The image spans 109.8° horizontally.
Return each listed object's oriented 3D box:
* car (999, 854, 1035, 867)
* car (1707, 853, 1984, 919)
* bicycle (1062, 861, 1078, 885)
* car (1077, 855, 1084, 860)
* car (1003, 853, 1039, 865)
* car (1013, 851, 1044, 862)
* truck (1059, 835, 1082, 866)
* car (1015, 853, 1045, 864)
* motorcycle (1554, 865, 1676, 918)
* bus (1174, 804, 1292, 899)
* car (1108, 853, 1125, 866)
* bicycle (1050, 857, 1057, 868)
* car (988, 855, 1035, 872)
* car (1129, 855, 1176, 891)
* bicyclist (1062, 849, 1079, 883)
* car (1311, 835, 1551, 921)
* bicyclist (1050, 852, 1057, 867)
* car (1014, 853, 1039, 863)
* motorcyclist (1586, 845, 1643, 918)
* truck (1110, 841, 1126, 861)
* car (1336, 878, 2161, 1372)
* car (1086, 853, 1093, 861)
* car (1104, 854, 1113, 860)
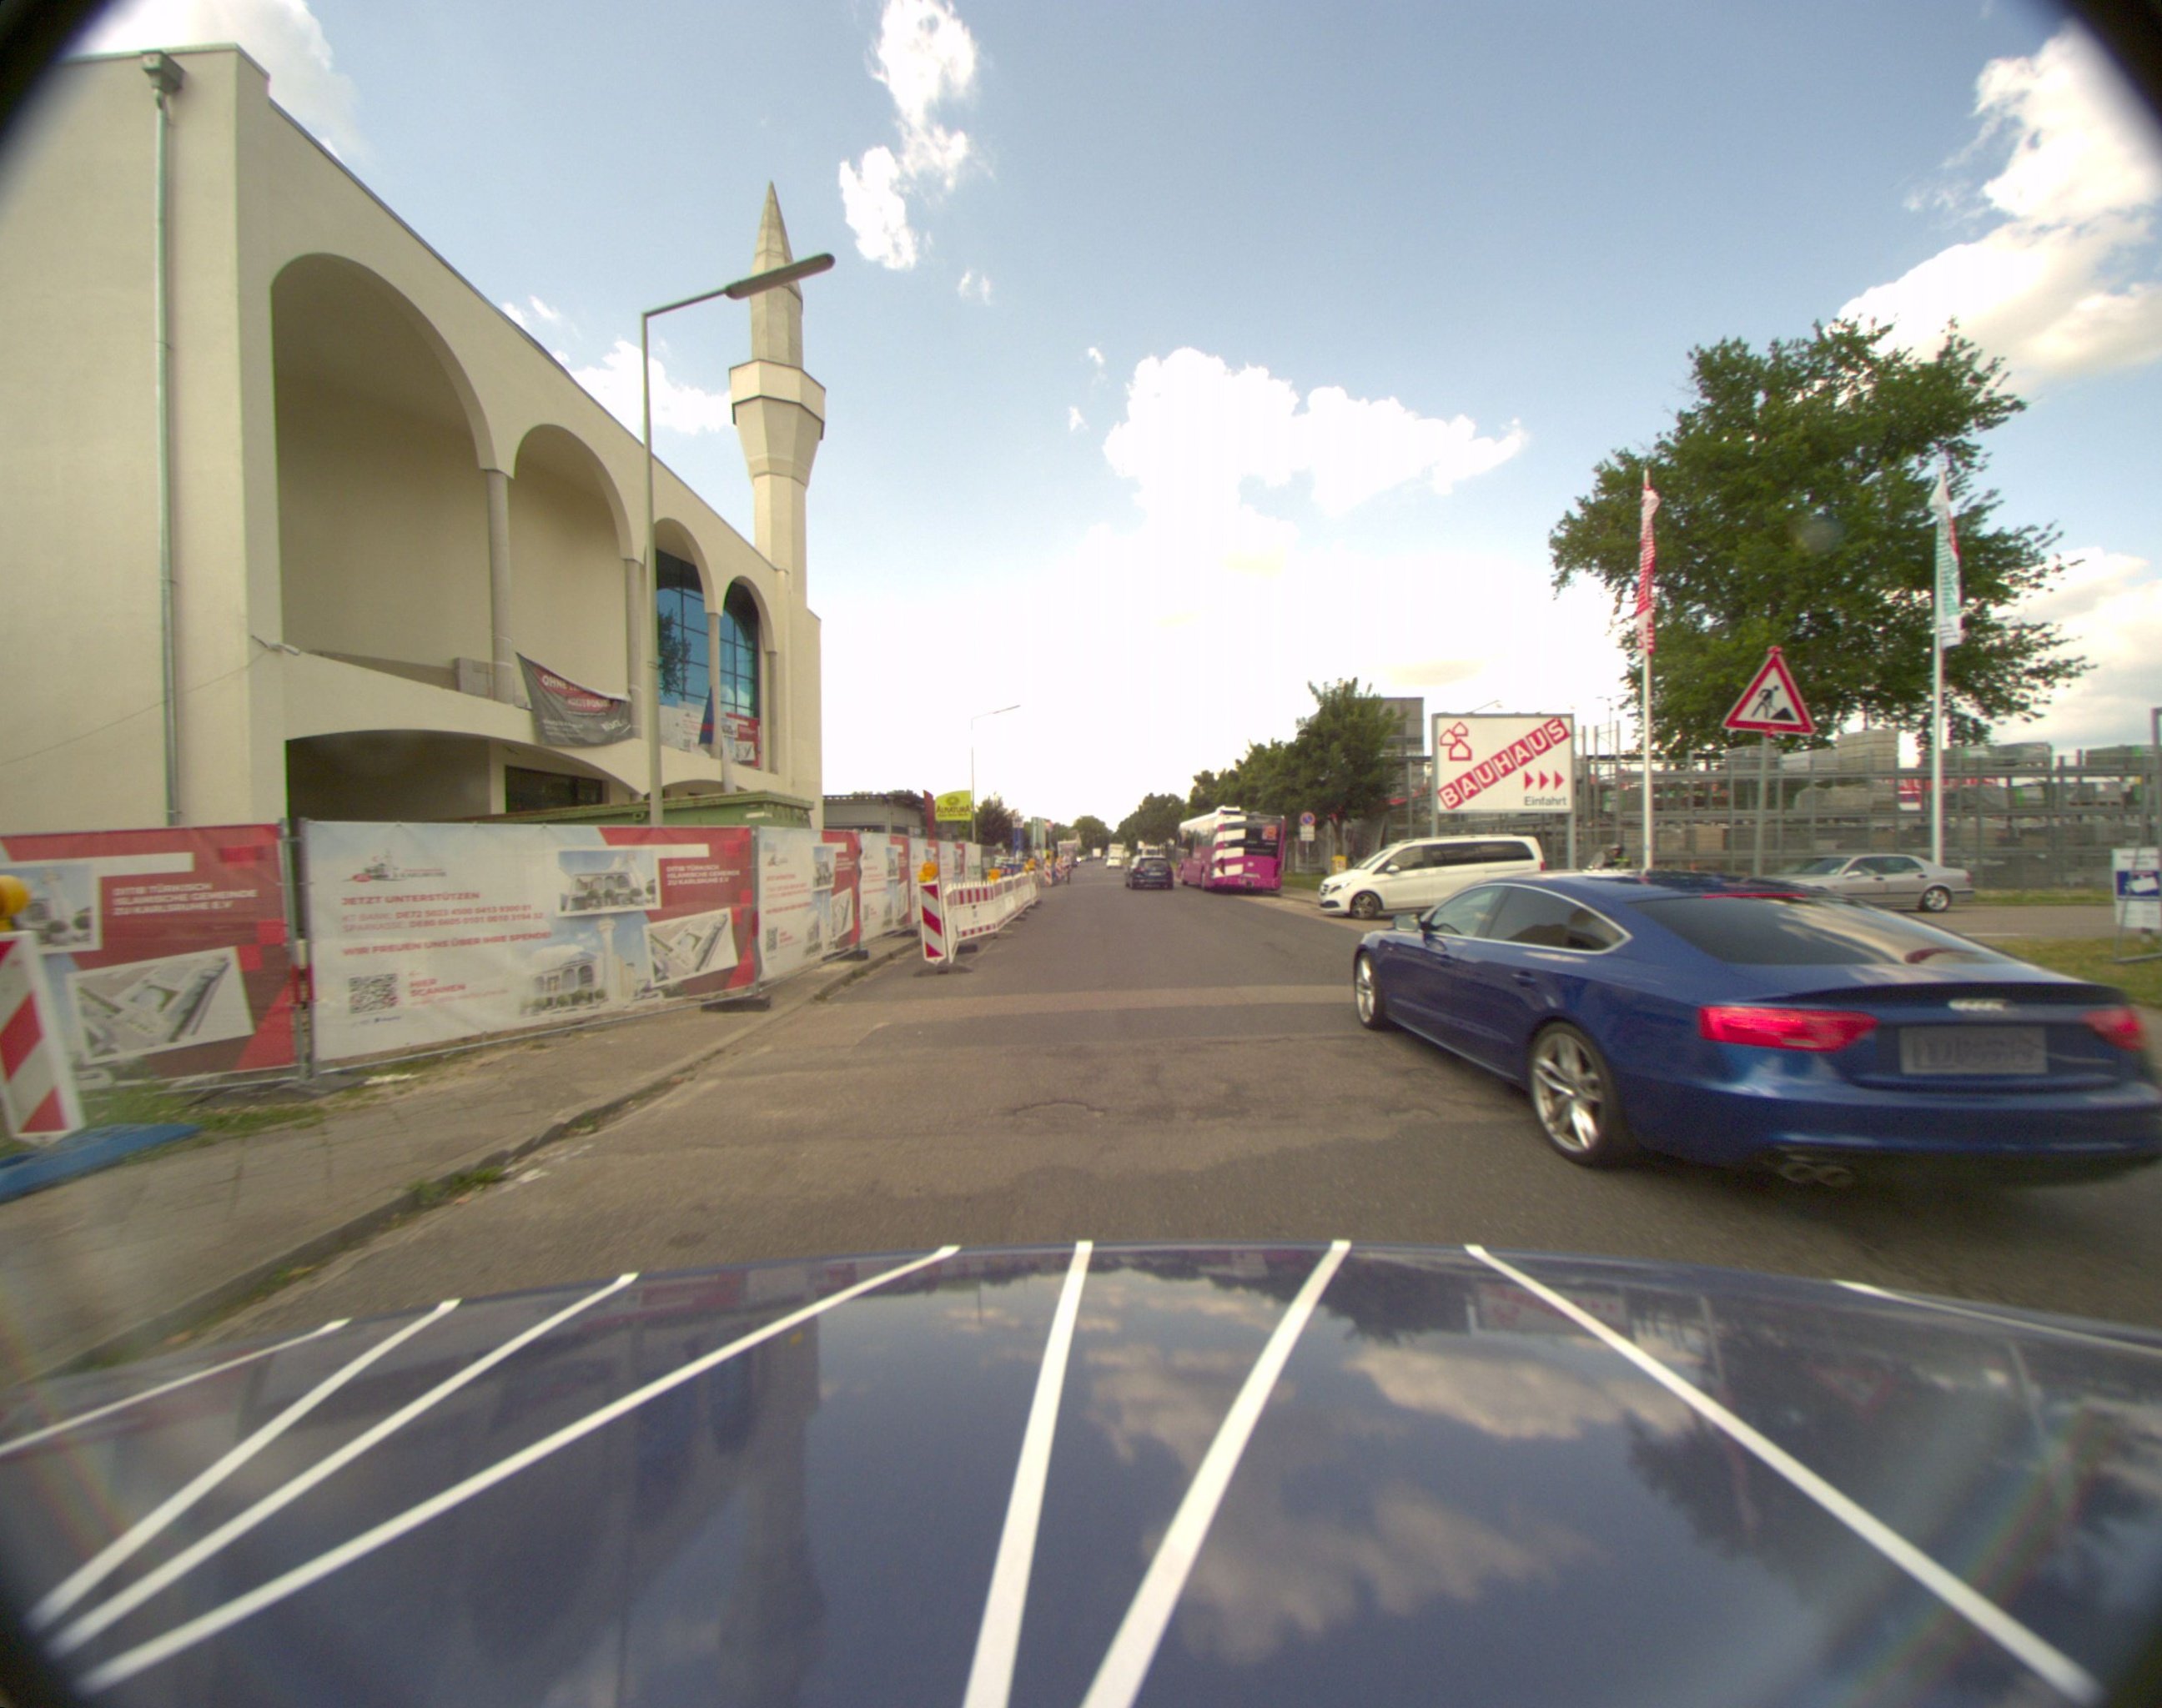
[{"bbox_3d":[-7.367,0.754,87.595,3.963,1.402,1.796,1,0,-3],"label":"car"},{"bbox_3d":[18.331,0.727,18.401,4.695,1.445,1.954,-1,0,1],"label":"car"},{"bbox_3d":[-0.567,1.002,41.364,0.800,1.173,2.626,-2,1,0],"label":"bicycle"},{"bbox_3d":[-0.116,0.906,227.980,1.983,1.467,4.000,-1,0,0],"label":"car"},{"bbox_3d":[-7.487,0.642,95.303,4.319,1.435,1.846,0,0,-2],"label":"car"},{"bbox_3d":[-8.310,0.432,120.464,4.906,1.777,1.902,0,0,-1],"label":"car"},{"bbox_3d":[-1.429,-0.531,107.720,2.785,4.092,8.278,-4,0,0],"label":"truck"},{"bbox_3d":[-6.921,0.589,102.904,3.895,1.513,1.748,0,0,-5],"label":"car"},{"bbox_3d":[12.760,0.886,18.219,2.226,1.206,0.994,0,1,1],"label":"motorcycle"},{"bbox_3d":[6.471,-0.116,34.854,2.670,3.403,13.217,3,0,0],"label":"bus"},{"bbox_3d":[4.234,0.632,89.830,1.686,1.461,3.614,0,0,8],"label":"car"},{"bbox_3d":[-3.506,1.046,97.070,0.794,1.287,1.882,3,1,2],"label":"bicycle"},{"bbox_3d":[-6.285,0.832,69.210,4.113,1.455,1.990,0,0,-1],"label":"car"},{"bbox_3d":[3.096,0.792,33.588,1.800,1.450,4.385,0,0,2],"label":"car"},{"bbox_3d":[-0.582,0.627,41.364,0.808,1.782,1.207,-3,1,0],"label":"bicyclist"},{"bbox_3d":[8.469,0.577,18.815,5.011,1.938,1.993,-1,0,6],"label":"car"},{"bbox_3d":[-3.499,0.742,97.108,0.796,1.899,0.829,3,1,2],"label":"bicyclist"},{"bbox_3d":[-8.468,0.588,117.978,3.820,1.490,1.654,0,0,1],"label":"car"},{"bbox_3d":[12.776,0.636,18.208,0.676,1.713,0.994,0,1,1],"label":"motorcyclist"},{"bbox_3d":[7.162,-0.677,146.851,2.754,3.701,7.170,1,1,0],"label":"truck"},{"bbox_3d":[3.198,0.915,4.539,1.928,1.369,4.379,-1,0,1],"label":"car"},{"bbox_3d":[2.197,0.771,198.709,1.797,1.881,4.000,-1,0,0],"label":"car"},{"bbox_3d":[6.775,0.707,186.520,1.983,1.565,4.000,-1,0,0],"label":"car"}]
